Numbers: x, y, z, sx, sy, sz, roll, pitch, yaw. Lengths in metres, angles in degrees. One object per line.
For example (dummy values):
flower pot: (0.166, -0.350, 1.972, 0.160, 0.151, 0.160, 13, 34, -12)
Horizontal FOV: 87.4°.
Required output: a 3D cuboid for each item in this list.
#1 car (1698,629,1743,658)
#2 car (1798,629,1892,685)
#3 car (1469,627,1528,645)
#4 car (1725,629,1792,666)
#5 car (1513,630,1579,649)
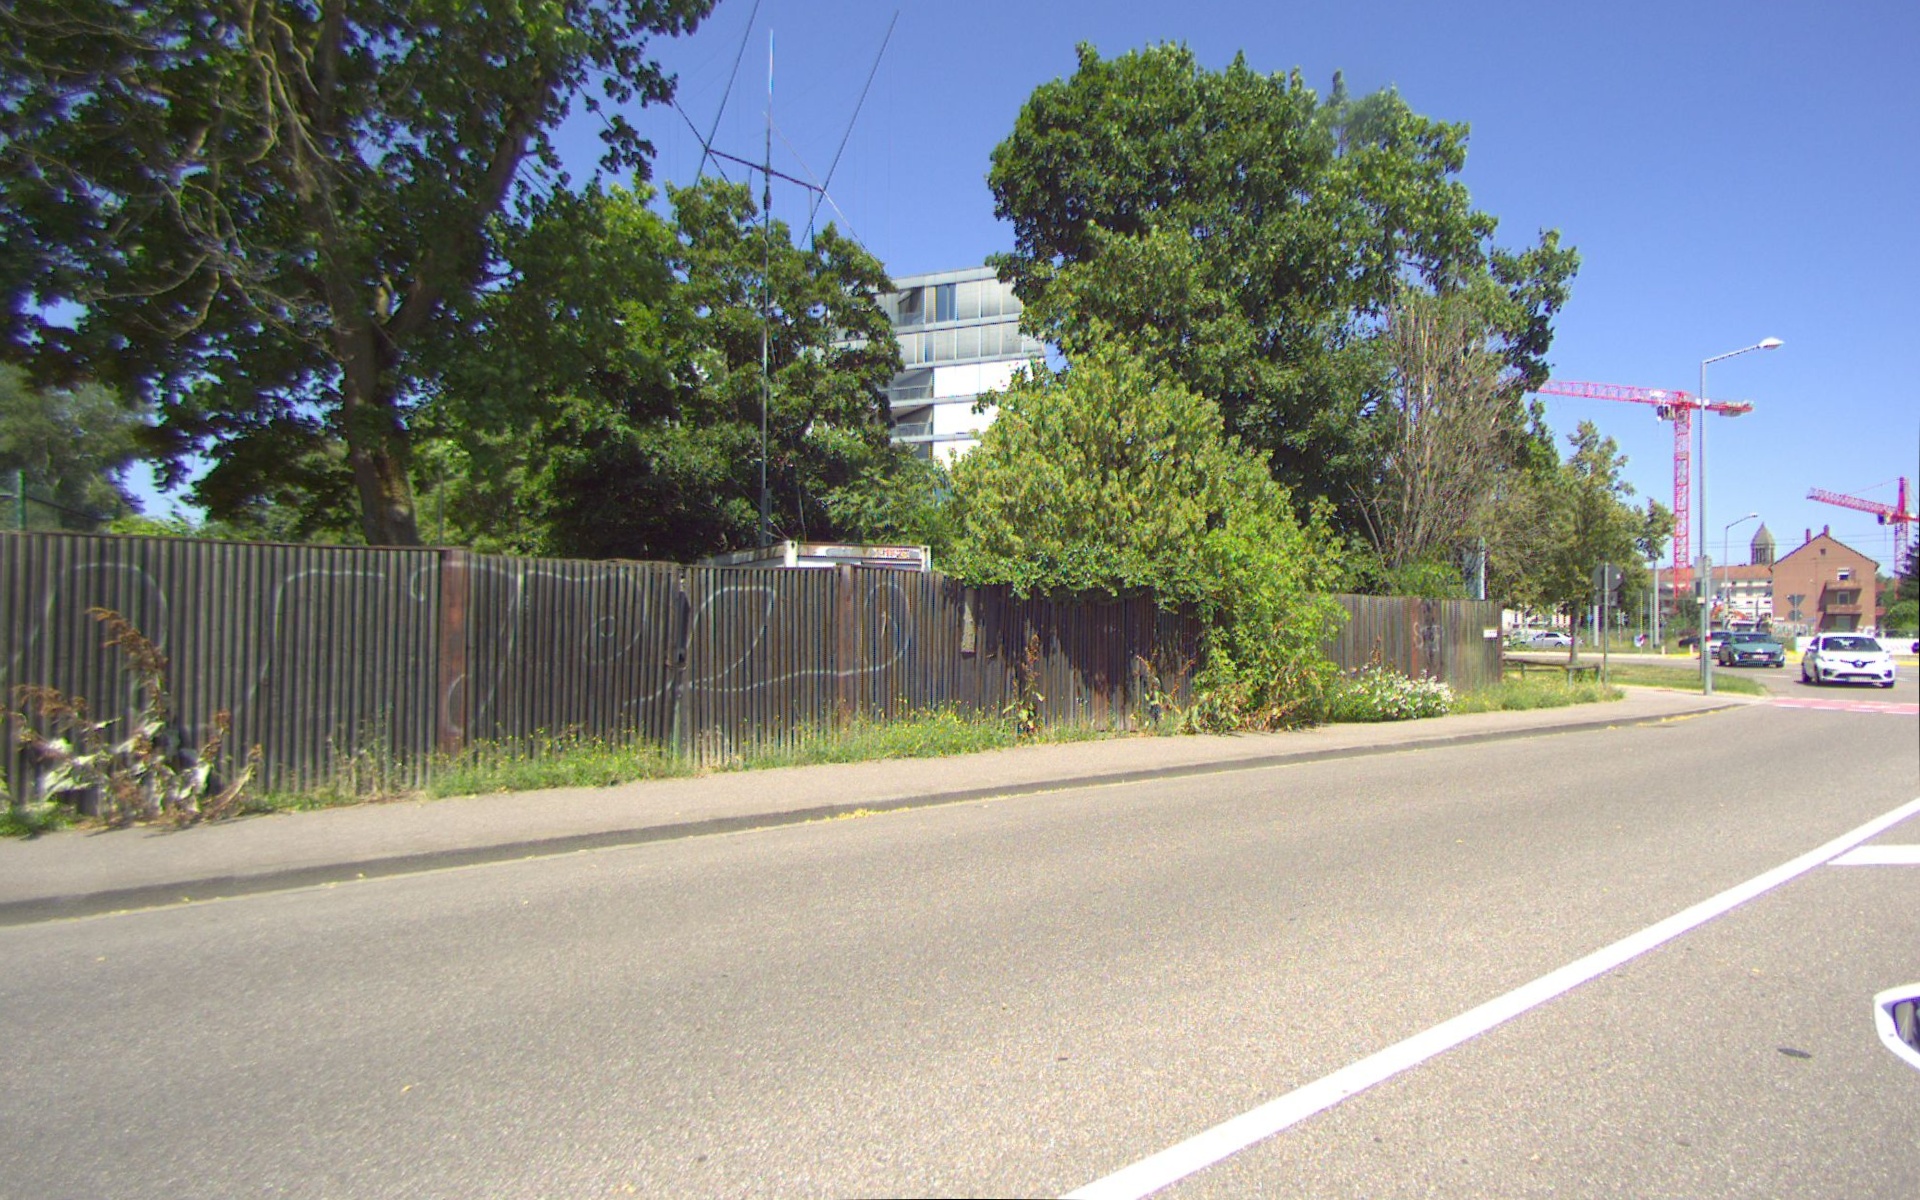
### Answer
car: (39.846, 2.249, 52.591, 1.706, 1.421, 4.251, 2, 0, 39)
car: (26.341, 1.637, 30.006, 1.752, 1.547, 3.859, -1, -2, 36)
car: (47.327, 3.146, 88.362, 1.736, 1.390, 4.286, 2, 0, -36)
car: (33.657, 1.972, 42.300, 1.729, 1.390, 4.304, 2, 0, 45)
car: (47.640, 3.185, 81.673, 1.736, 1.390, 4.285, 2, 0, -37)
